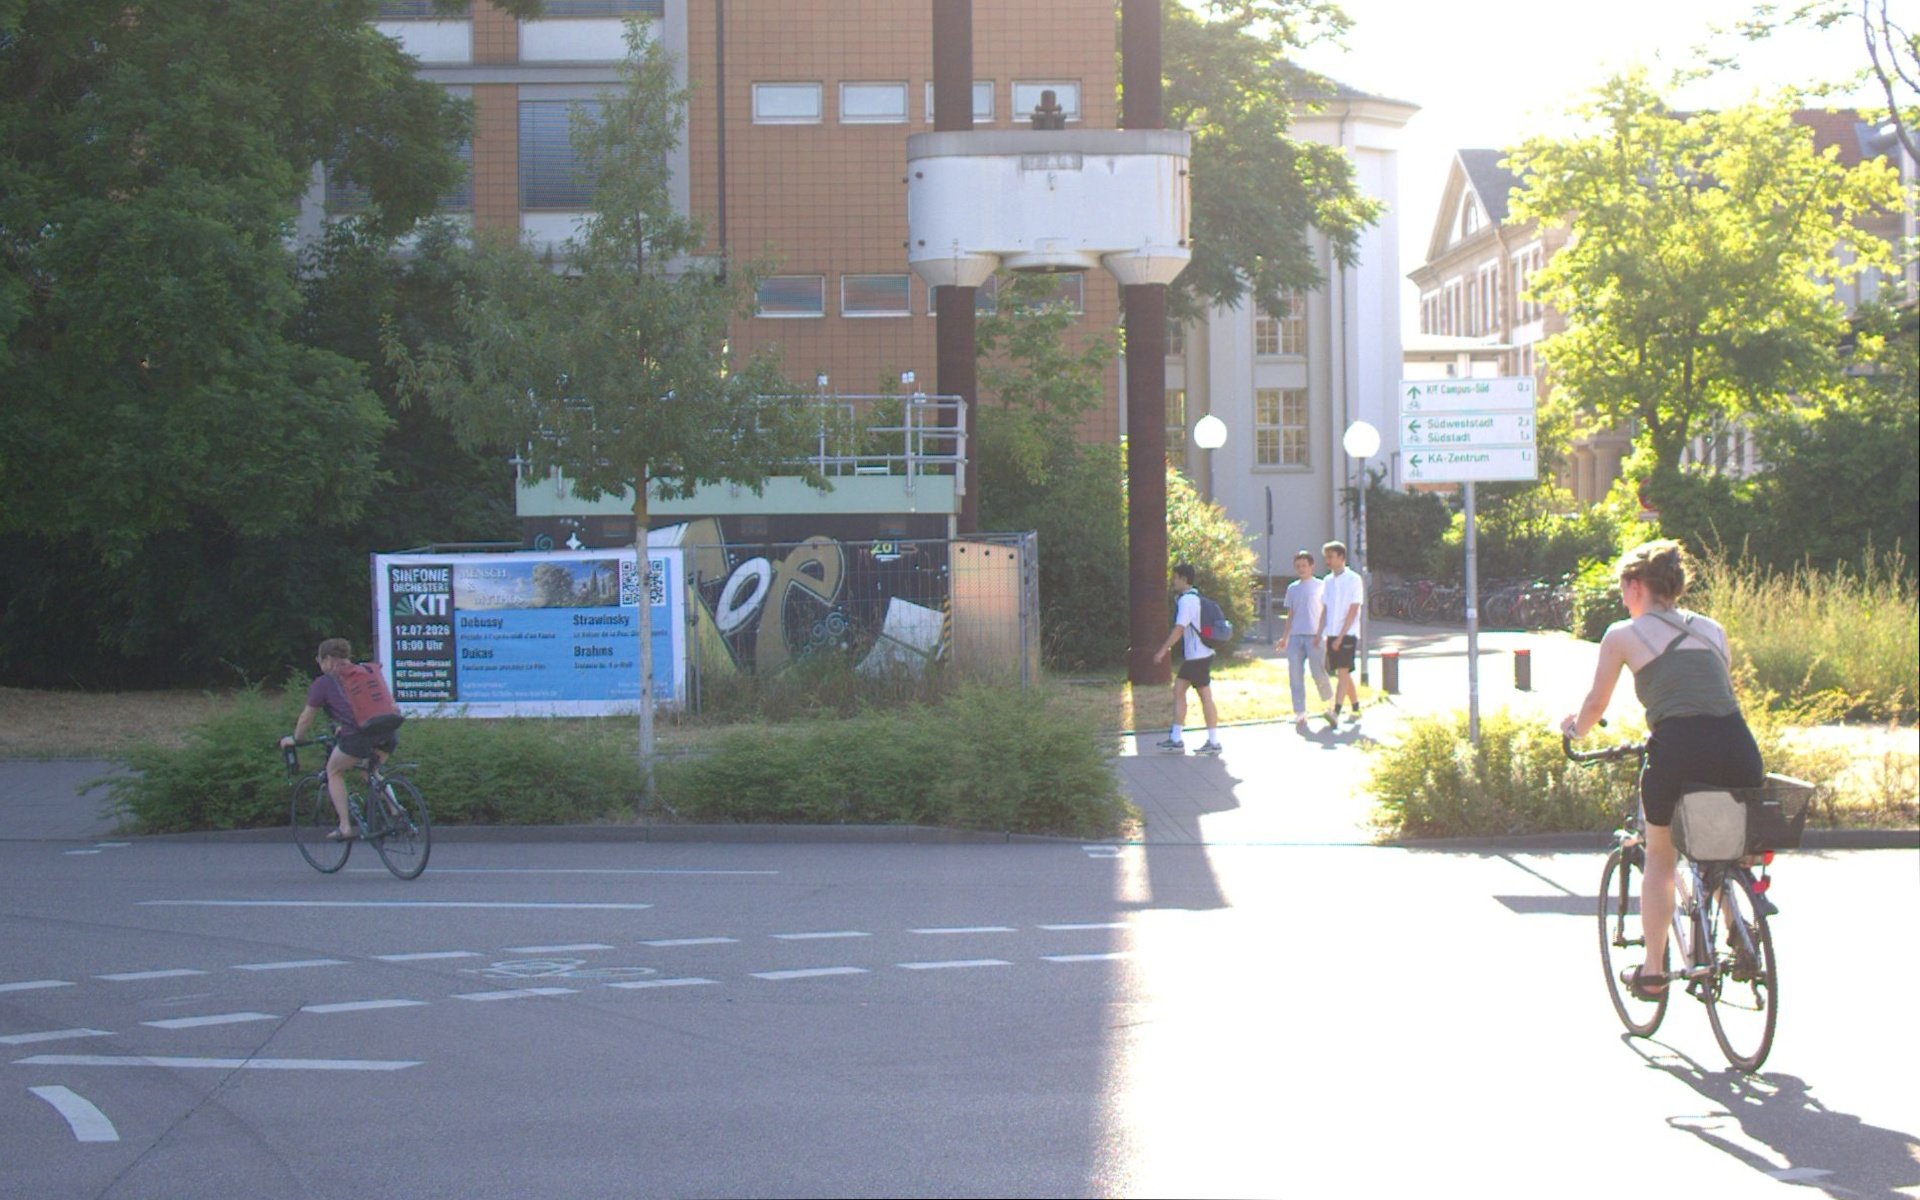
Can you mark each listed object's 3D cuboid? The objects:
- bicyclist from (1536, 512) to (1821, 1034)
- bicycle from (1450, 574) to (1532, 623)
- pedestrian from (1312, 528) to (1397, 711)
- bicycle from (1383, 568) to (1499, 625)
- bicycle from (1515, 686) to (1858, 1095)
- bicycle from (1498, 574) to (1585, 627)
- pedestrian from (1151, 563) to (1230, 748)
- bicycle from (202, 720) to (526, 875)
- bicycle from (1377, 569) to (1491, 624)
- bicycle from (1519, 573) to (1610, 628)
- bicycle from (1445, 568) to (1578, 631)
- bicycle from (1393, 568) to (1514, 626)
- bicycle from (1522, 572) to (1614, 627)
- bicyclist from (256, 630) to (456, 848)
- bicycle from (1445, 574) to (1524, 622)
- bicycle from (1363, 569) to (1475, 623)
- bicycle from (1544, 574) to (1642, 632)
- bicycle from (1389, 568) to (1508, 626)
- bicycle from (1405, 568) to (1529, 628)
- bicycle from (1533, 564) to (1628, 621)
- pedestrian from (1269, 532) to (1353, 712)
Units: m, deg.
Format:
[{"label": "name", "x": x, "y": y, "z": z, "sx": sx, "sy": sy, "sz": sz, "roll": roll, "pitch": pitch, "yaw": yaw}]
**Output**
[{"label": "bicyclist", "x": 2.395, "y": 0.549, "z": 11.564, "sx": 0.778, "sy": 1.671, "sz": 1.093, "roll": -1, "pitch": 1, "yaw": 4}, {"label": "bicycle", "x": 12.262, "y": -0.030, "z": 79.448, "sx": 1.794, "sy": 1.104, "sz": 0.500, "roll": 1, "pitch": 0, "yaw": 2}, {"label": "pedestrian", "x": 4.081, "y": 0.196, "z": 35.527, "sx": 0.575, "sy": 1.863, "sz": 0.622, "roll": -1, "pitch": 1, "yaw": -37}, {"label": "bicycle", "x": 12.274, "y": -0.087, "z": 87.789, "sx": 2.872, "sy": 1.376, "sz": 0.682, "roll": 1, "pitch": 0, "yaw": 2}, {"label": "bicycle", "x": 2.397, "y": 0.917, "z": 11.622, "sx": 0.778, "sy": 1.152, "sz": 2.291, "roll": -1, "pitch": 1, "yaw": 3}, {"label": "bicycle", "x": 12.576, "y": 0.010, "z": 74.386, "sx": 1.794, "sy": 1.104, "sz": 0.500, "roll": 1, "pitch": 0, "yaw": 2}, {"label": "pedestrian", "x": 2.144, "y": 0.507, "z": 31.943, "sx": 0.628, "sy": 1.693, "sz": 0.622, "roll": -1, "pitch": 1, "yaw": 11}, {"label": "bicycle", "x": -3.900, "y": 1.276, "z": 22.375, "sx": 2.247, "sy": 0.949, "sz": 0.720, "roll": -2, "pitch": -1, "yaw": 37}, {"label": "bicycle", "x": 12.315, "y": -0.097, "z": 89.387, "sx": 2.872, "sy": 1.376, "sz": 0.682, "roll": 1, "pitch": 0, "yaw": 2}, {"label": "bicycle", "x": 12.549, "y": 0.009, "z": 71.424, "sx": 1.794, "sy": 1.104, "sz": 0.500, "roll": 1, "pitch": 0, "yaw": 2}, {"label": "bicycle", "x": 12.441, "y": -0.014, "z": 77.598, "sx": 2.872, "sy": 1.376, "sz": 0.682, "roll": 1, "pitch": 0, "yaw": 2}, {"label": "bicycle", "x": 12.229, "y": -0.070, "z": 85.209, "sx": 2.872, "sy": 1.376, "sz": 0.682, "roll": 1, "pitch": 0, "yaw": 2}, {"label": "bicycle", "x": 12.484, "y": -0.012, "z": 70.618, "sx": 1.794, "sy": 1.104, "sz": 0.500, "roll": 1, "pitch": 0, "yaw": 2}, {"label": "bicyclist", "x": -3.939, "y": 0.901, "z": 22.404, "sx": 1.074, "sy": 1.380, "sz": 0.720, "roll": -2, "pitch": -1, "yaw": 37}, {"label": "bicycle", "x": 12.408, "y": -0.041, "z": 81.379, "sx": 1.794, "sy": 1.104, "sz": 0.500, "roll": 1, "pitch": 0, "yaw": 2}, {"label": "bicycle", "x": 12.192, "y": -0.113, "z": 91.450, "sx": 2.872, "sy": 1.376, "sz": 0.682, "roll": 1, "pitch": 0, "yaw": 2}, {"label": "bicycle", "x": 12.328, "y": 0.055, "z": 66.998, "sx": 1.794, "sy": 1.104, "sz": 0.500, "roll": 1, "pitch": 0, "yaw": 2}, {"label": "bicycle", "x": 12.228, "y": -0.076, "z": 86.078, "sx": 2.872, "sy": 1.376, "sz": 0.682, "roll": 1, "pitch": 0, "yaw": 2}, {"label": "bicycle", "x": 12.255, "y": -0.056, "z": 83.169, "sx": 2.872, "sy": 1.376, "sz": 0.682, "roll": 1, "pitch": 0, "yaw": 2}, {"label": "bicycle", "x": 12.434, "y": -0.154, "z": 68.930, "sx": 1.794, "sy": 1.104, "sz": 0.500, "roll": 1, "pitch": 0, "yaw": 2}, {"label": "pedestrian", "x": 3.680, "y": 0.221, "z": 36.059, "sx": 0.575, "sy": 1.863, "sz": 0.622, "roll": -1, "pitch": 1, "yaw": -37}]
